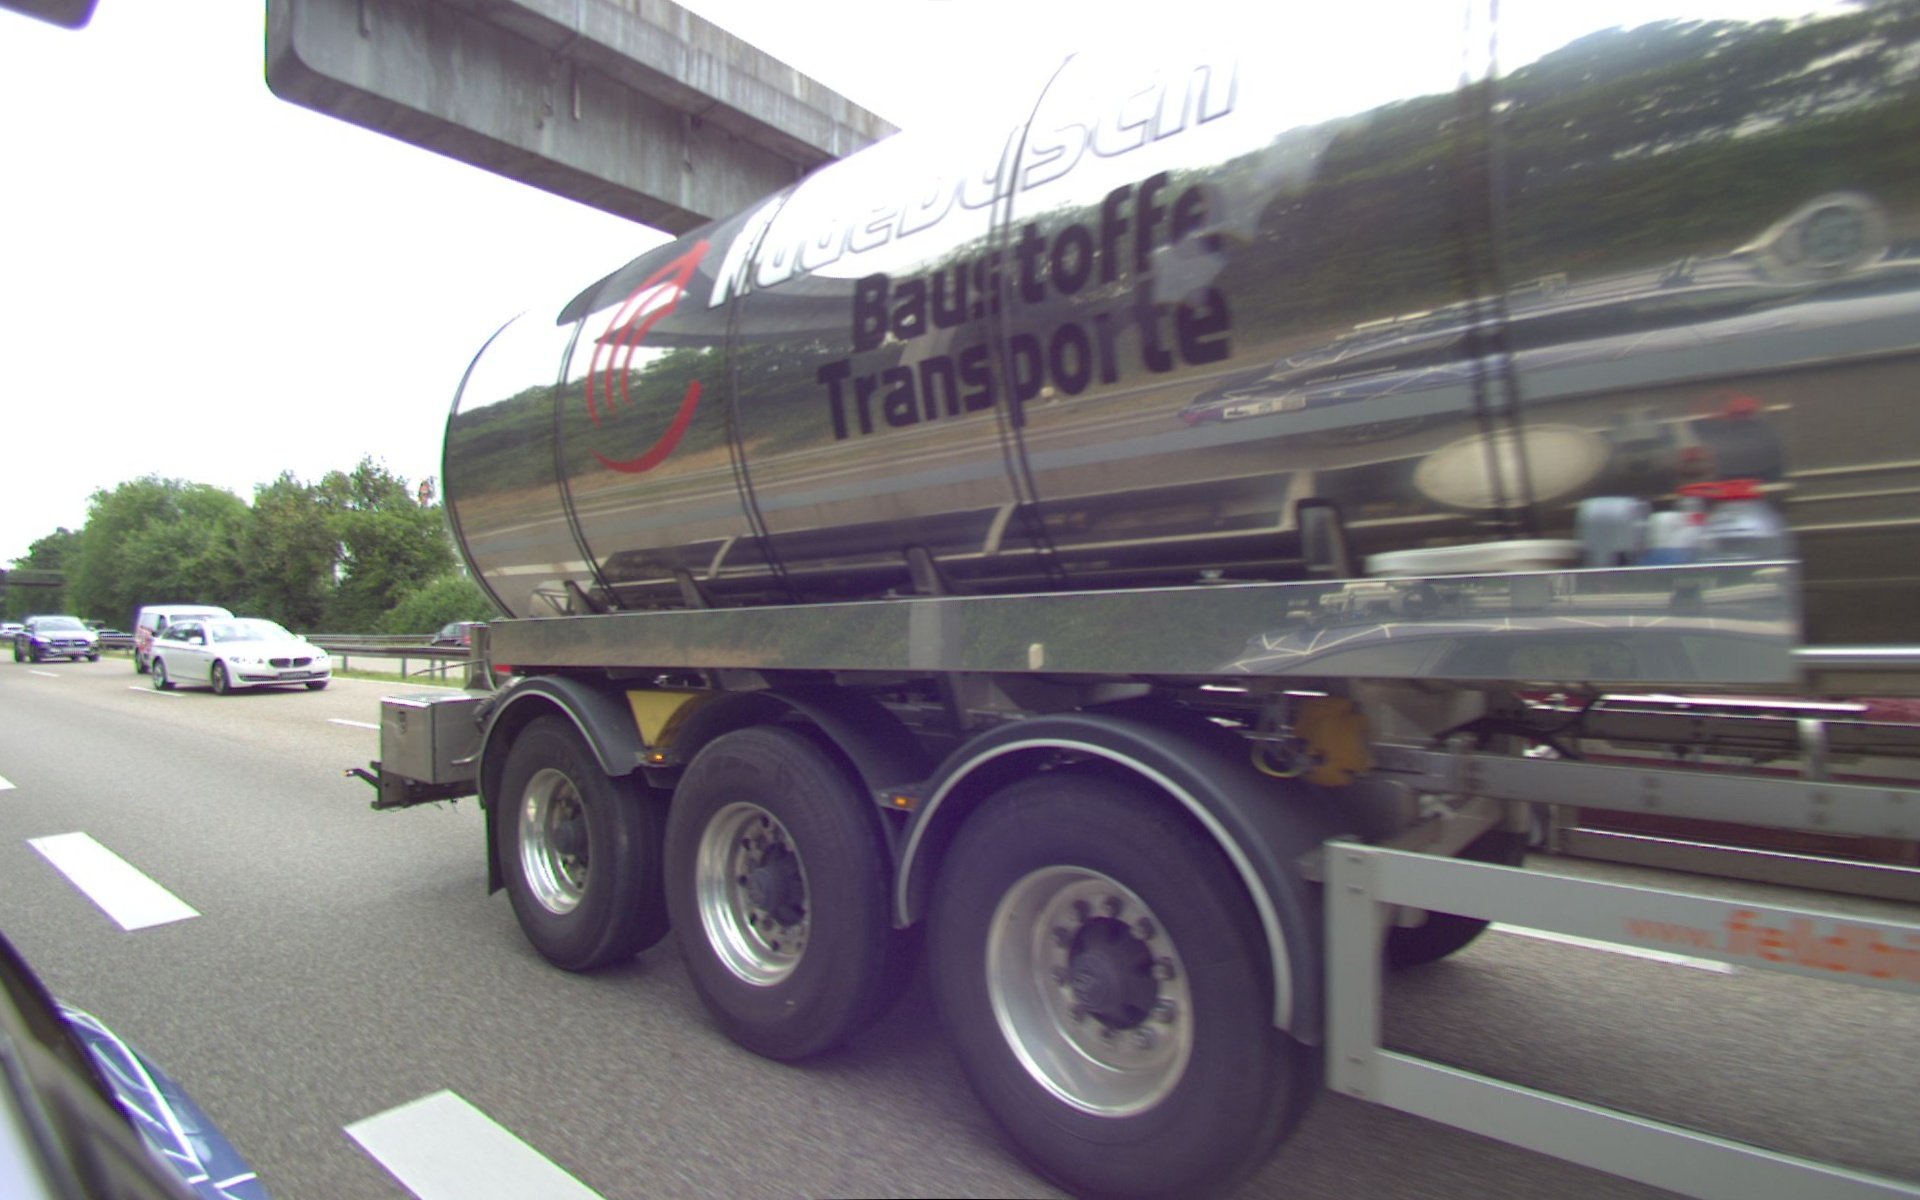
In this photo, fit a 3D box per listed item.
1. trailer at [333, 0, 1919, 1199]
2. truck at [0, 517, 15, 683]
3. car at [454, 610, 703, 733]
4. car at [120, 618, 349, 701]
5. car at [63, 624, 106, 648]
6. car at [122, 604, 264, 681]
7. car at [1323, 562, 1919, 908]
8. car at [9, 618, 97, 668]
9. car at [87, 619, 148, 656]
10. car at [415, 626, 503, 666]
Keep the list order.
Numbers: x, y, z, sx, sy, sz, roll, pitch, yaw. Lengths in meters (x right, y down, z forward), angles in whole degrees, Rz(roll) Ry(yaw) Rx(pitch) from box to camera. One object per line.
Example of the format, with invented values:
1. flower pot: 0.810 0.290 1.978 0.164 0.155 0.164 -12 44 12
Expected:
1. trailer: 1.593 -0.576 2.960 10.980 3.937 2.655 -2 -2 41
2. truck: -26.751 0.074 25.777 7.463 3.999 2.924 -1 -1 39
3. car: -5.570 0.926 14.551 4.088 1.535 1.610 -1 -1 41
4. car: -14.642 1.122 20.328 5.244 1.475 2.041 -1 -2 34
5. car: -66.866 2.740 77.273 4.271 1.780 1.560 -1 -2 37
6. car: -20.418 1.088 26.859 5.001 1.864 1.829 -1 -2 39
7. car: 4.432 0.610 5.313 4.467 1.509 1.658 -2 -2 42
8. car: -32.188 1.495 35.879 3.998 1.664 1.825 -2 -2 41
9. car: -48.403 2.120 58.108 3.996 2.029 1.974 -1 -2 39
10. car: -20.210 1.826 40.814 3.824 1.507 1.560 -1 -1 35
